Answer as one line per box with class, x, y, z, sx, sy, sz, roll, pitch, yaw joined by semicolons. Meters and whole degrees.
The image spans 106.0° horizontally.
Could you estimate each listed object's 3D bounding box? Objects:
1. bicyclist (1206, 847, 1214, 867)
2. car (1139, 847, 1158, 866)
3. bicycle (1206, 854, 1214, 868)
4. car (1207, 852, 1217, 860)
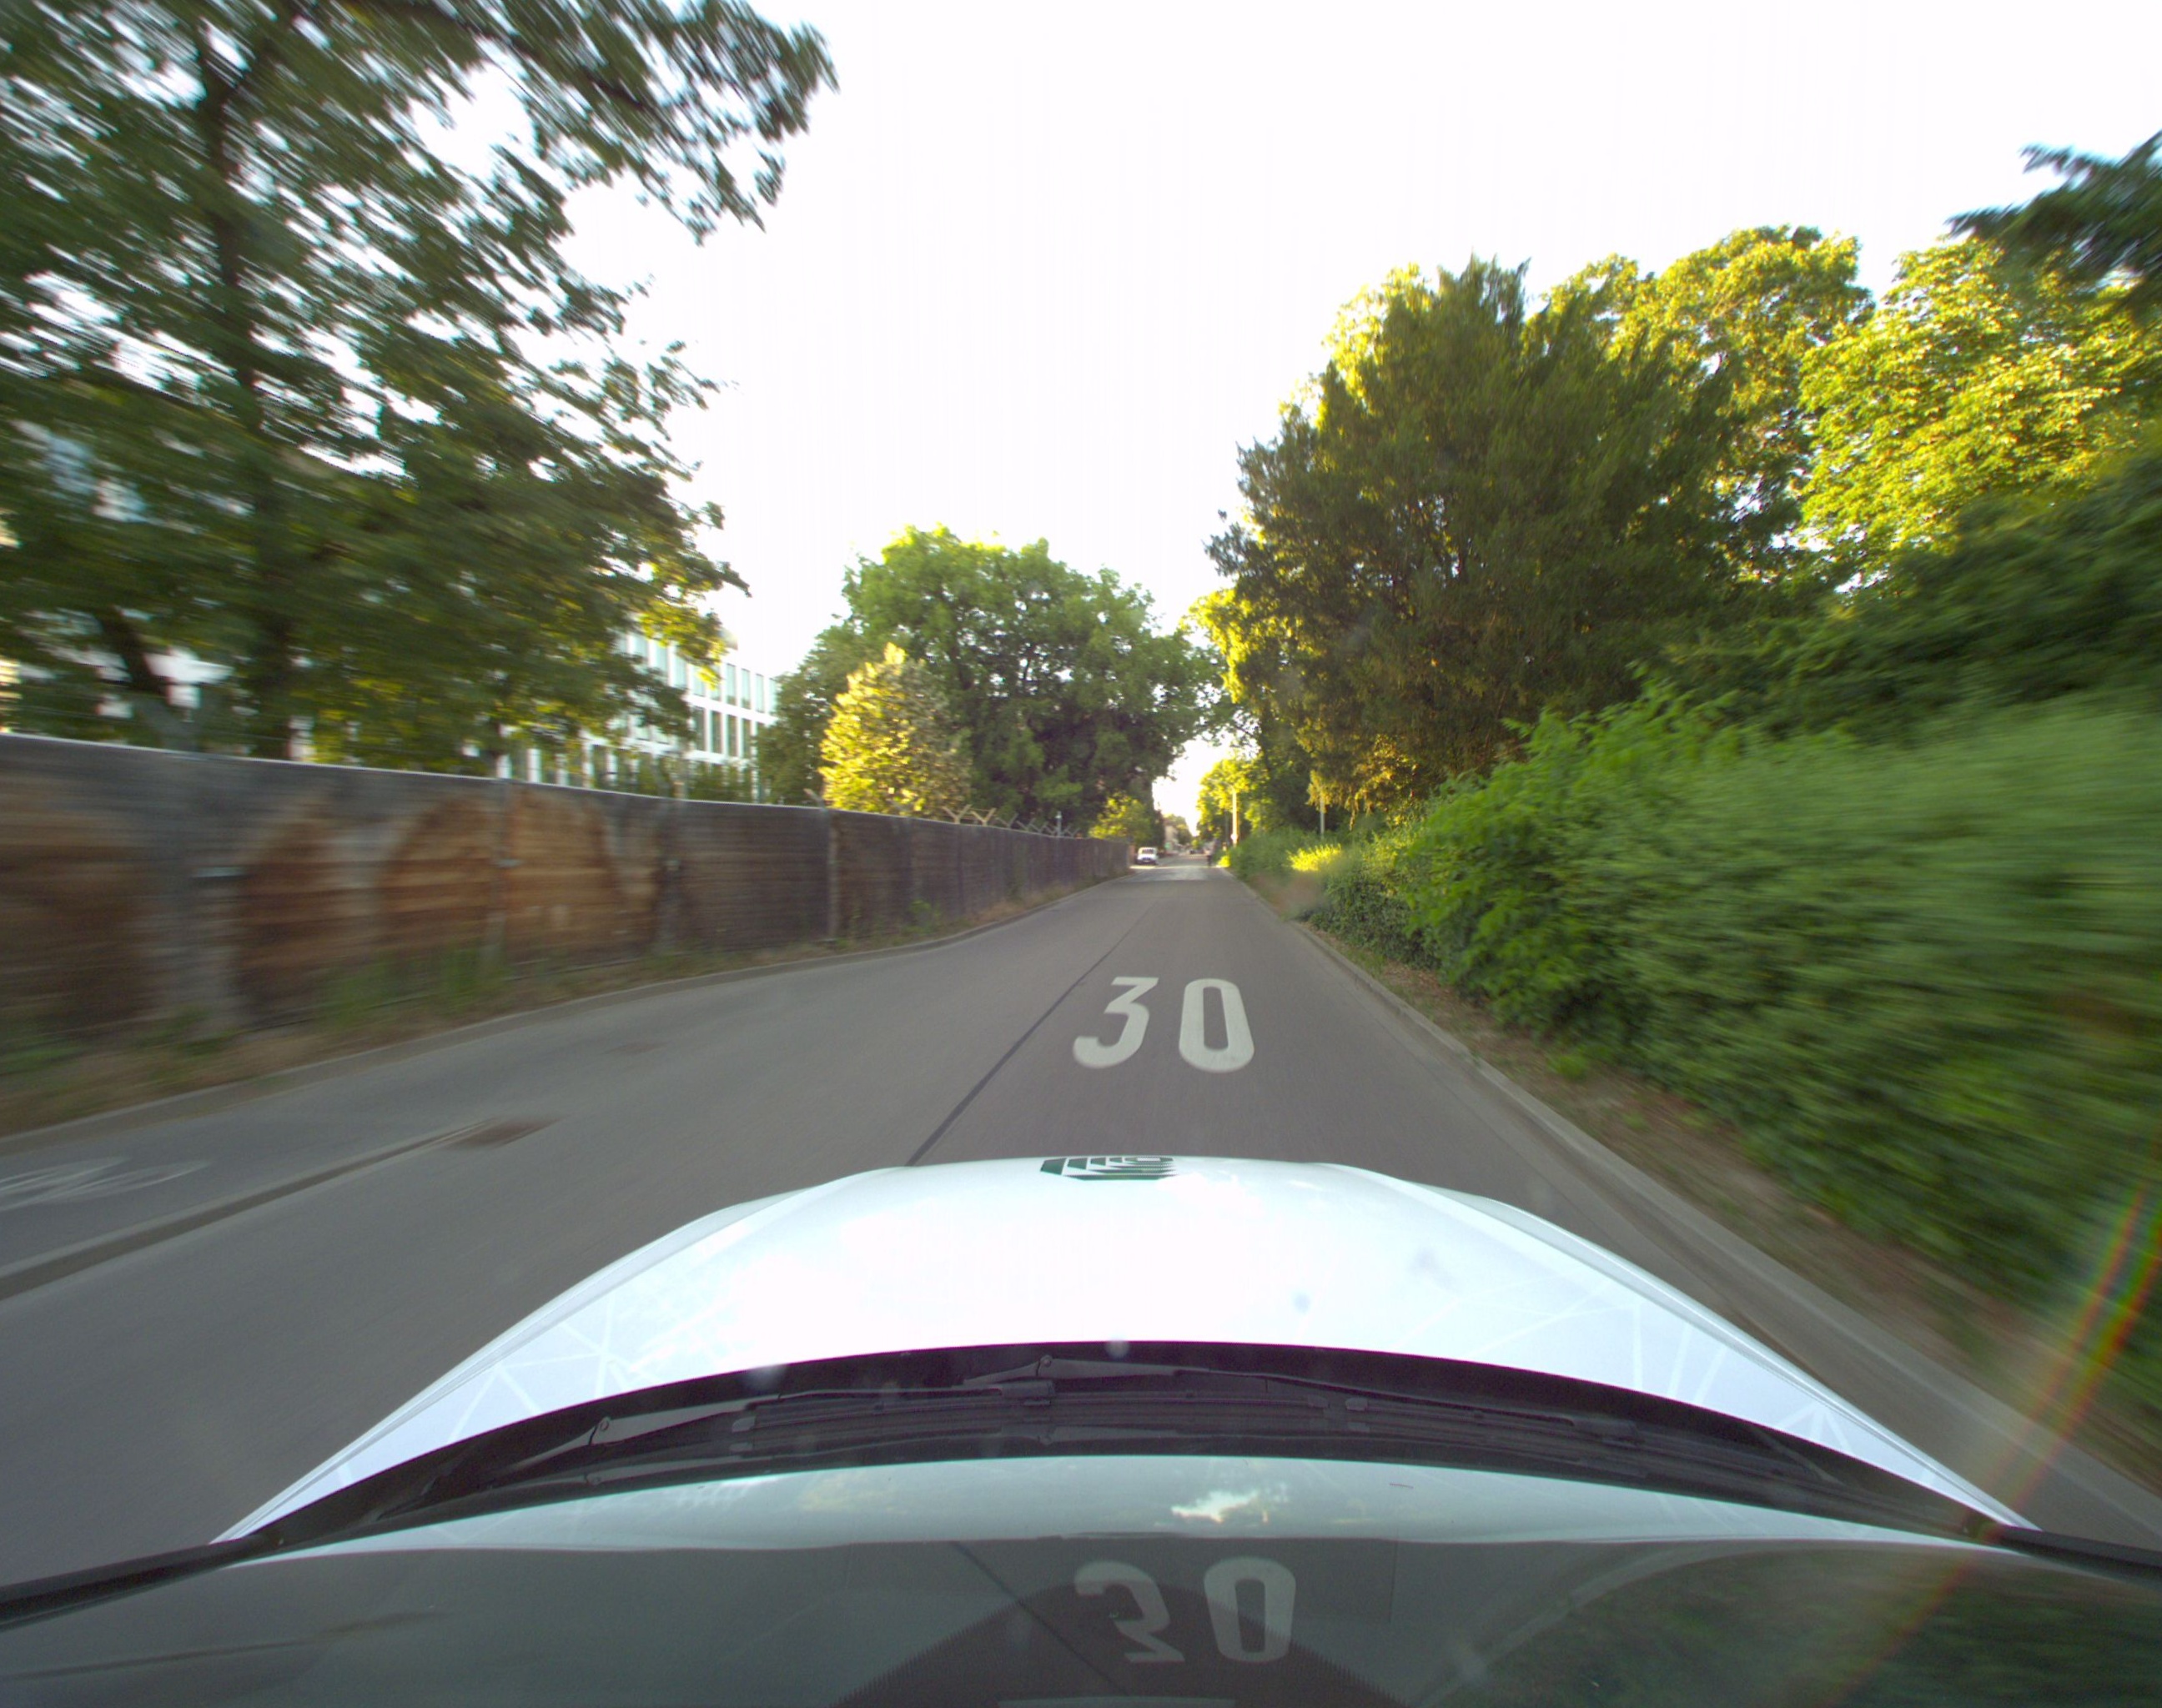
bicyclist;11.235;0.263;71.113;0.635;1.667;0.844;0;0;6
car;7.294;0.300;87.892;1.873;2.014;5.235;0;-1;6
bicycle;11.224;0.589;70.997;0.635;1.193;1.879;0;0;7
car;25.627;0.353;159.222;1.707;1.538;4.056;-2;0;6
